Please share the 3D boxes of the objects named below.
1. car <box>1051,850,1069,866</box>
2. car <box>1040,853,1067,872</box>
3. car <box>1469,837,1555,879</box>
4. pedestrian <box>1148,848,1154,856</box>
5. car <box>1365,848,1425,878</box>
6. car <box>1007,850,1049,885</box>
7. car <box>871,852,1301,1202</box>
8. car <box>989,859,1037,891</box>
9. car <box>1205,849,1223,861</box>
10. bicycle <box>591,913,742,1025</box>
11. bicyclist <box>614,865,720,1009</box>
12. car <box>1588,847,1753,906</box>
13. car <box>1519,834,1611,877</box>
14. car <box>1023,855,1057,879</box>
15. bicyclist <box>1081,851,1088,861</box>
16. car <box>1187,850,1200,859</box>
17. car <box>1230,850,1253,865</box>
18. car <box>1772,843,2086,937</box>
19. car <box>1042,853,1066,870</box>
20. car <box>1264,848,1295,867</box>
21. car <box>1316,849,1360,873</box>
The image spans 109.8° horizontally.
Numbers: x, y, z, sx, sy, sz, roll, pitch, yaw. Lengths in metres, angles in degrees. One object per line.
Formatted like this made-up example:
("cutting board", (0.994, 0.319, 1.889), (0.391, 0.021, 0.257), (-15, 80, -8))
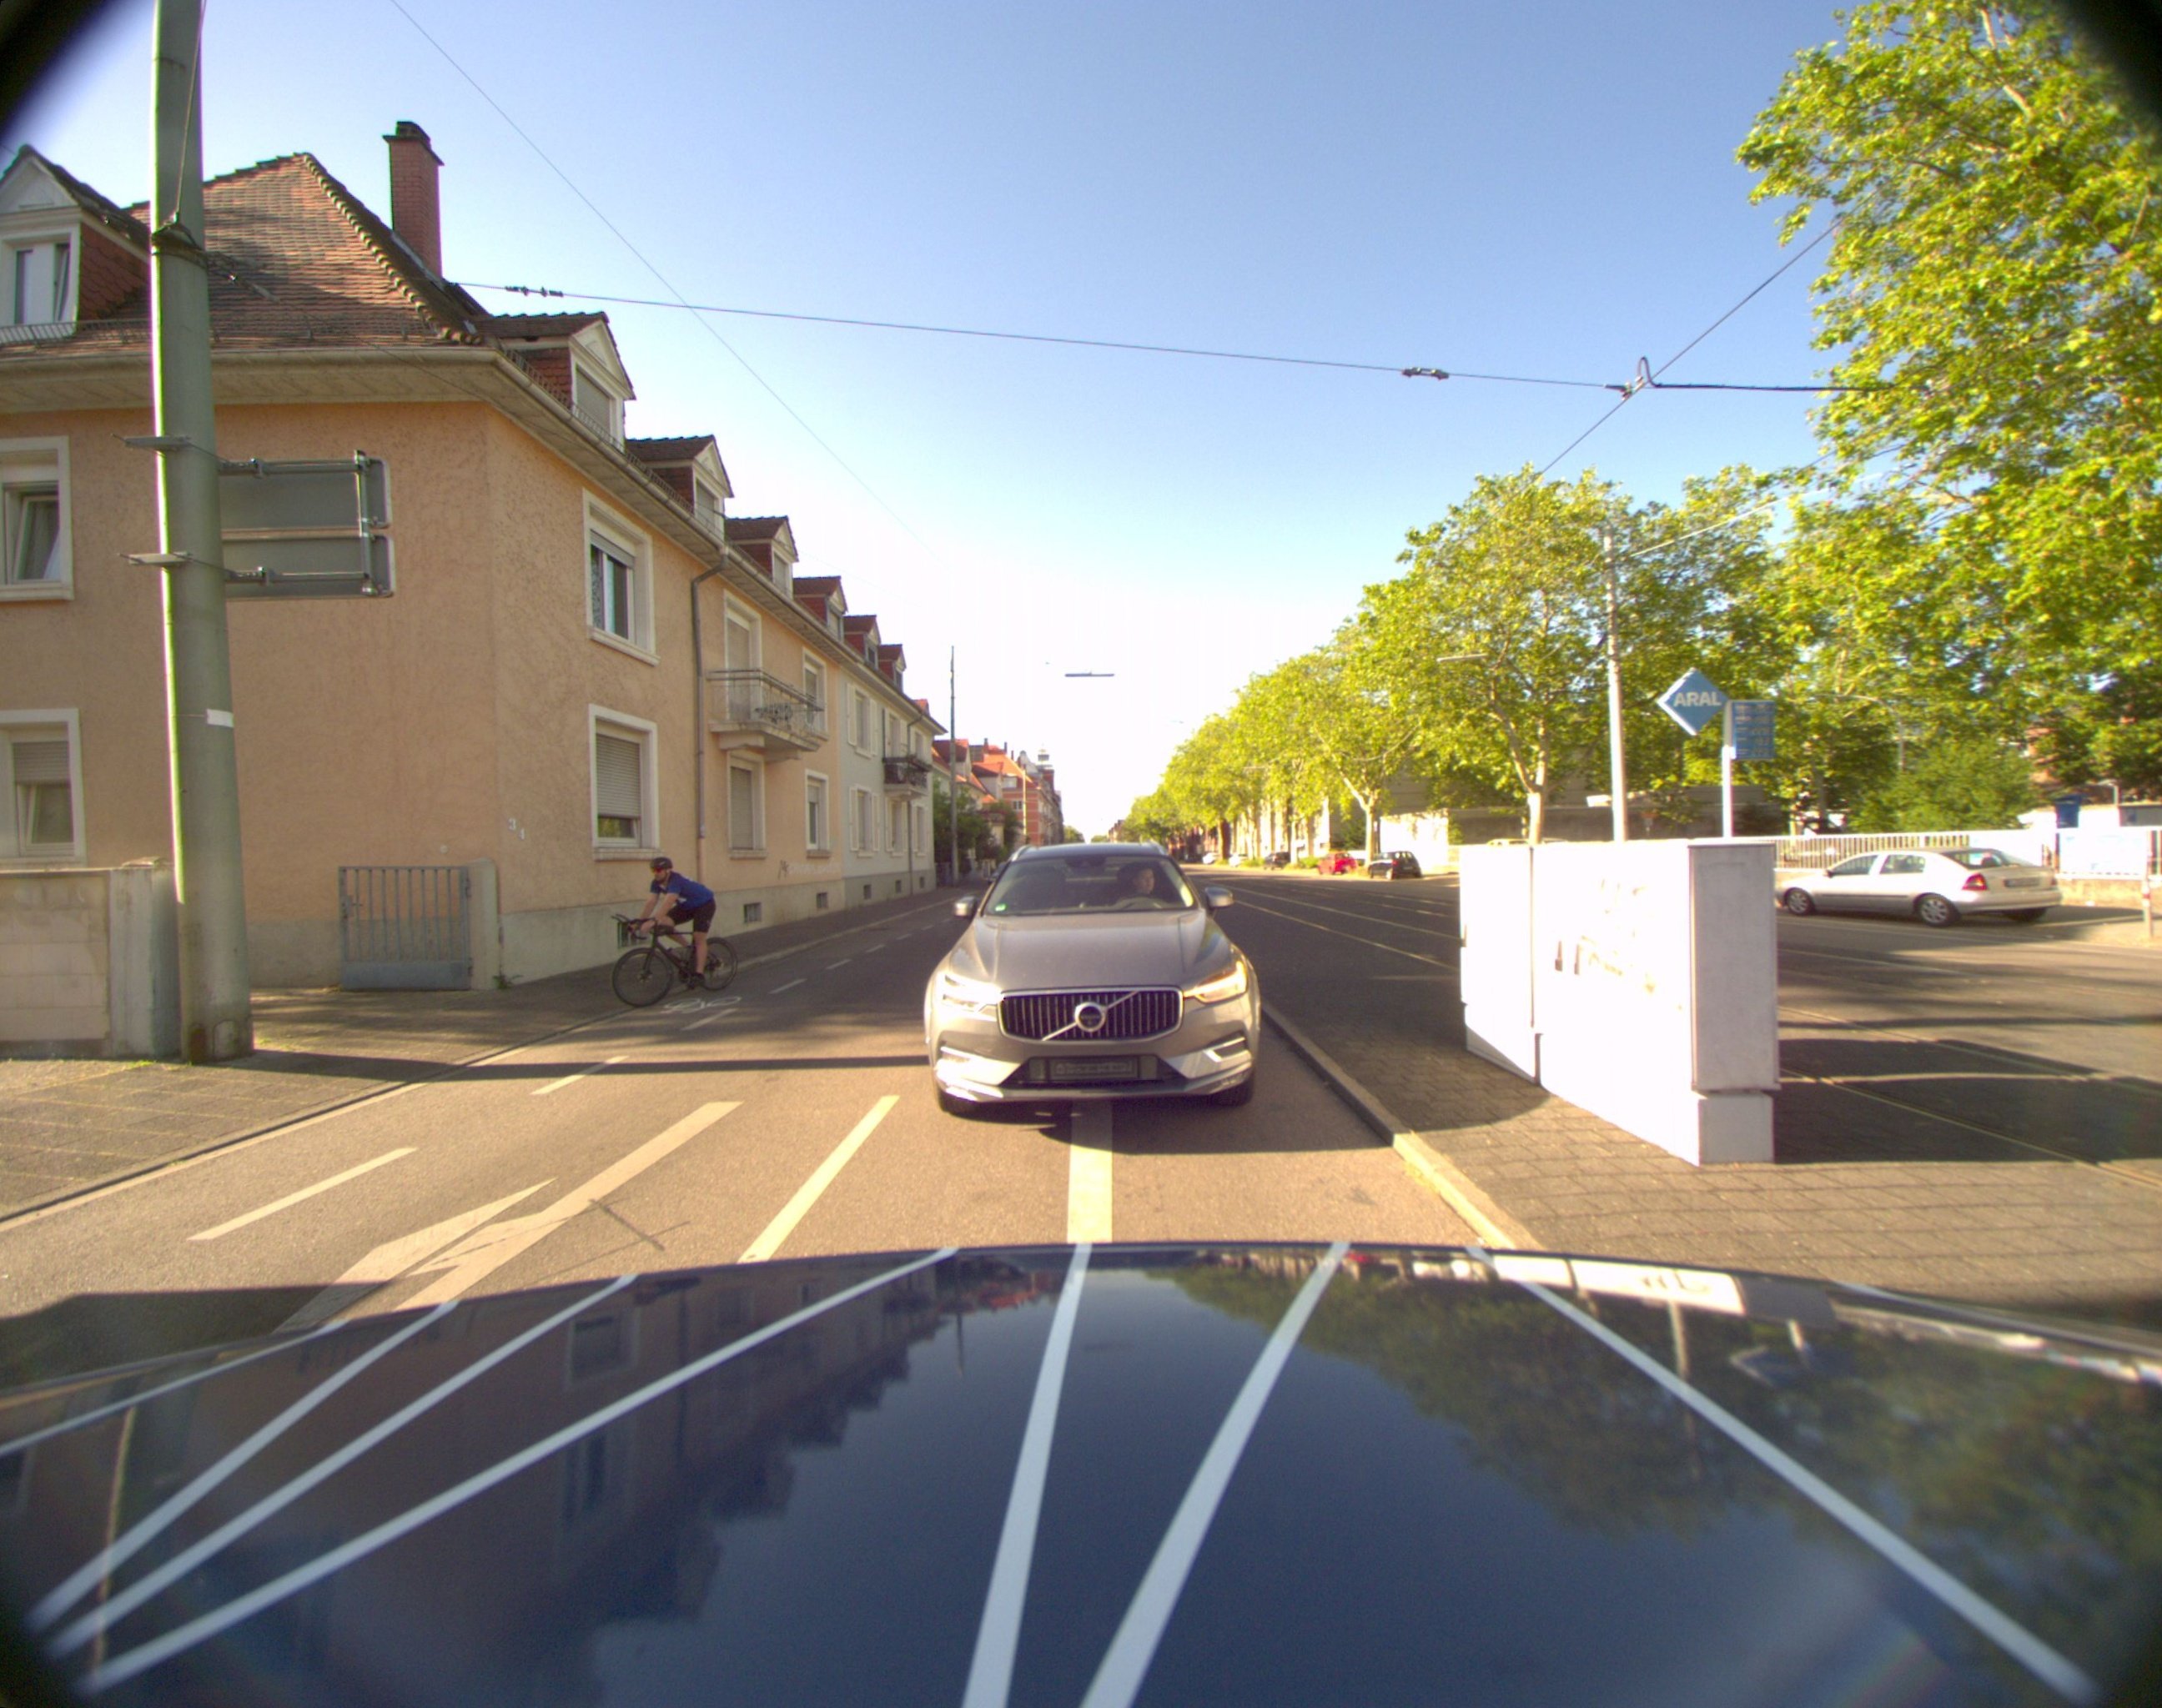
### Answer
("car", (-2.324, 0.431, 85.453), (1.867, 1.653, 4.078), (-1, 0, 1))
("car", (-2.131, 0.667, 60.060), (1.867, 1.399, 4.078), (-1, 0, 1))
("car", (21.812, 0.173, 38.644), (1.999, 2.002, 3.999), (-1, 0, -1))
("pedestrian", (19.594, -0.544, 213.139), (1.686, 2.002, 1.761), (-1, 1, 1))
("car", (16.892, 0.462, 41.045), (1.758, 1.449, 3.858), (-3, 0, 3))
("car", (-2.913, 0.702, 42.833), (1.867, 1.778, 5.297), (-1, 0, 1))
("car", (0.057, 0.817, 5.934), (1.998, 1.609, 4.697), (-1, 0, 1))
("car", (-3.235, 0.964, 37.079), (1.867, 1.399, 4.424), (-1, 0, 1))
("car", (17.672, 0.166, 100.940), (1.758, 1.475, 3.858), (-3, 0, 3))
("bicycle", (-4.908, 1.315, 9.152), (0.550, 1.056, 1.796), (-1, 1, 11))
("bicyclist", (-4.938, 0.951, 9.117), (0.561, 1.607, 1.017), (-1, 1, 11))
("car", (16.479, 0.572, 21.518), (1.745, 1.389, 3.858), (-4, 0, 3))
("car", (24.160, 0.084, 38.103), (1.999, 2.002, 3.999), (-1, 0, -1))
("car", (-2.577, 0.814, 48.501), (1.867, 1.399, 4.078), (-1, 0, 1))
("bicyclist", (0.599, 0.329, 123.188), (1.054, 1.496, 1.250), (-1, 1, 1))
("car", (18.508, 0.060, 125.296), (1.758, 1.475, 3.858), (-3, 0, 3))
("car", (17.579, 0.358, 83.346), (1.758, 1.475, 3.858), (-3, 0, 3))
("car", (16.239, 0.612, 14.910), (1.847, 1.477, 3.858), (-4, 0, 2))
("car", (-2.353, 0.620, 66.364), (1.867, 1.399, 4.078), (-1, 0, 1))
("car", (17.174, 0.297, 65.918), (1.758, 1.536, 3.858), (-3, 0, 3))
("car", (16.905, 0.454, 50.187), (1.717, 1.421, 3.858), (-3, 0, 3))
